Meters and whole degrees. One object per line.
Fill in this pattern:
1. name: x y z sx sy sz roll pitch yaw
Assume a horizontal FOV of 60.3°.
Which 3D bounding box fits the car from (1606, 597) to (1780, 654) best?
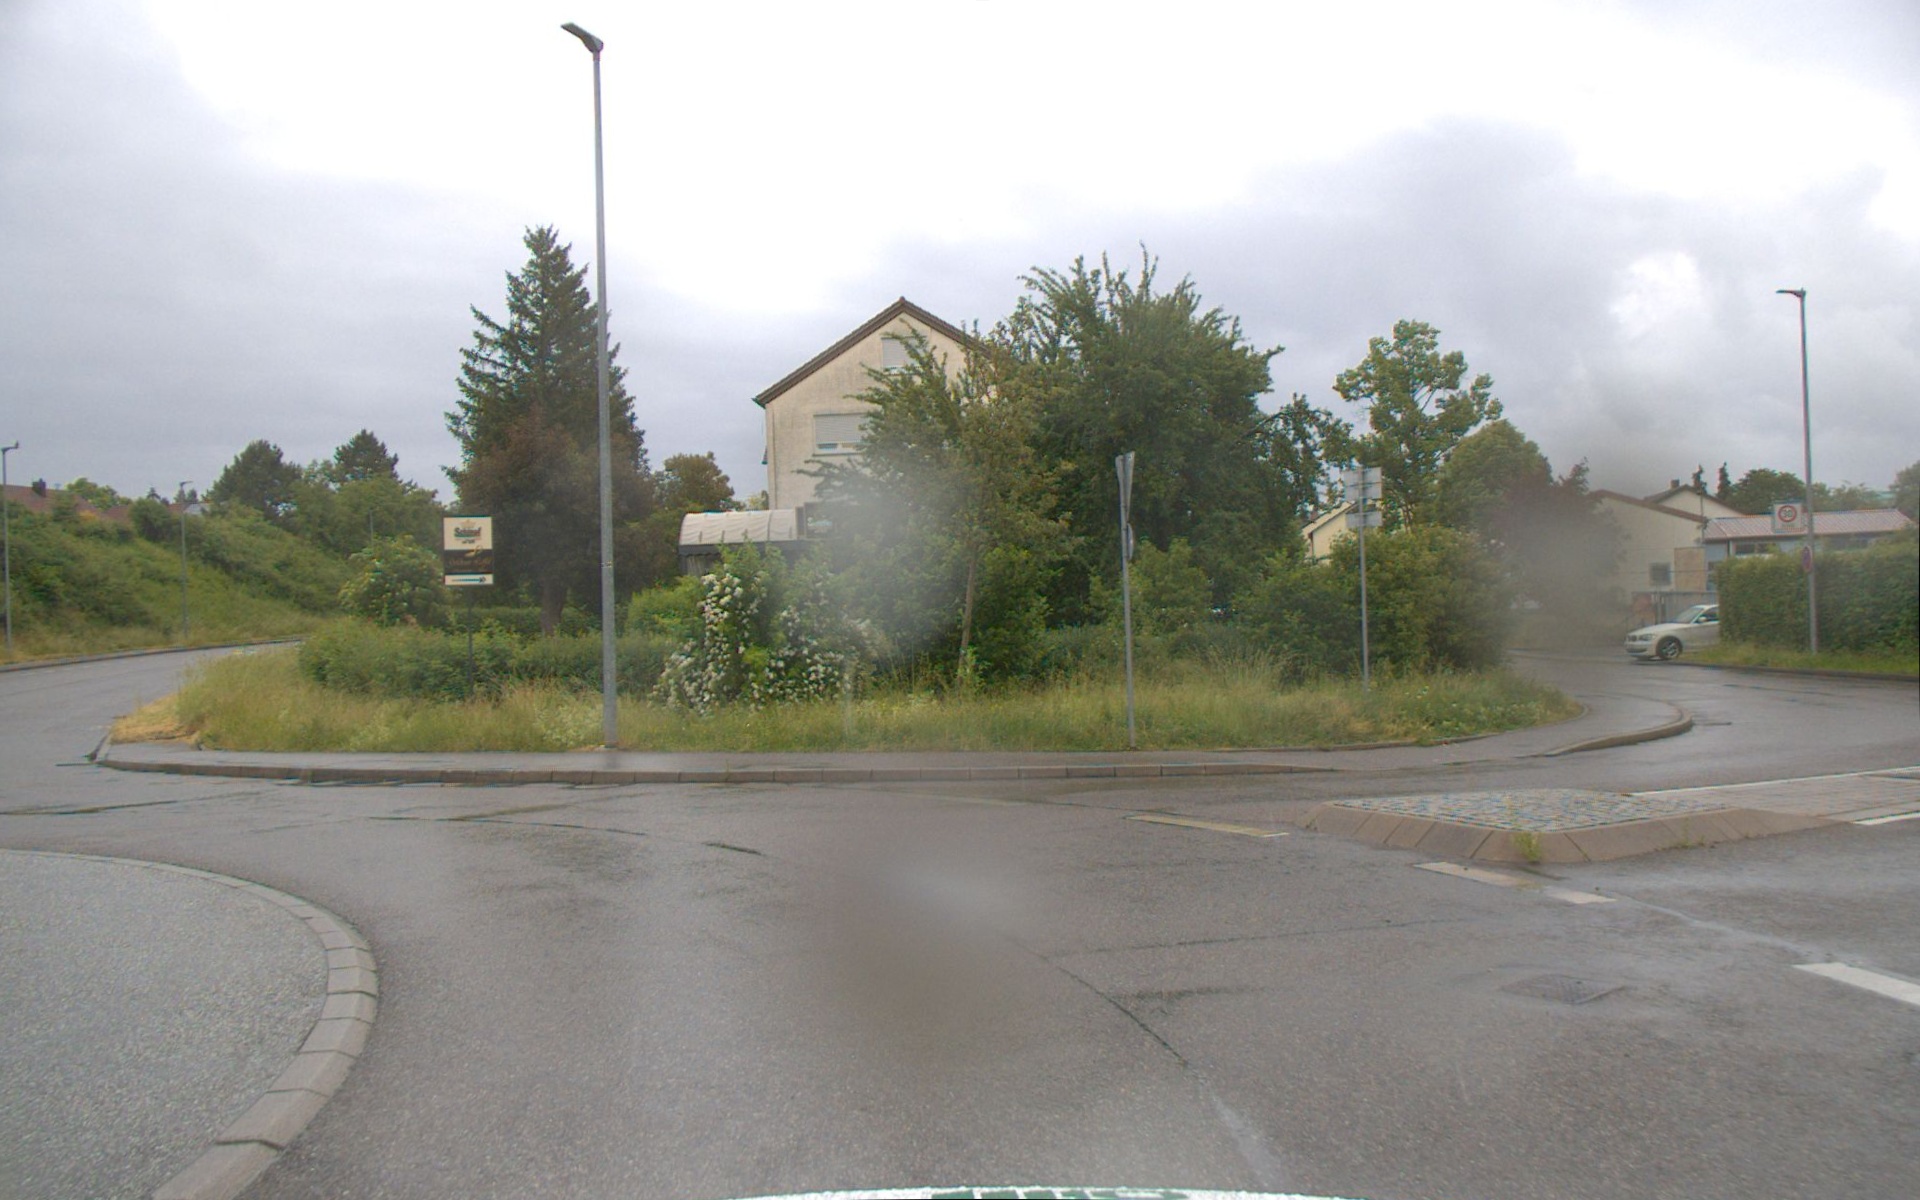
1. car: 19.818 0.684 44.849 3.903 1.398 1.785 -2 -1 3
